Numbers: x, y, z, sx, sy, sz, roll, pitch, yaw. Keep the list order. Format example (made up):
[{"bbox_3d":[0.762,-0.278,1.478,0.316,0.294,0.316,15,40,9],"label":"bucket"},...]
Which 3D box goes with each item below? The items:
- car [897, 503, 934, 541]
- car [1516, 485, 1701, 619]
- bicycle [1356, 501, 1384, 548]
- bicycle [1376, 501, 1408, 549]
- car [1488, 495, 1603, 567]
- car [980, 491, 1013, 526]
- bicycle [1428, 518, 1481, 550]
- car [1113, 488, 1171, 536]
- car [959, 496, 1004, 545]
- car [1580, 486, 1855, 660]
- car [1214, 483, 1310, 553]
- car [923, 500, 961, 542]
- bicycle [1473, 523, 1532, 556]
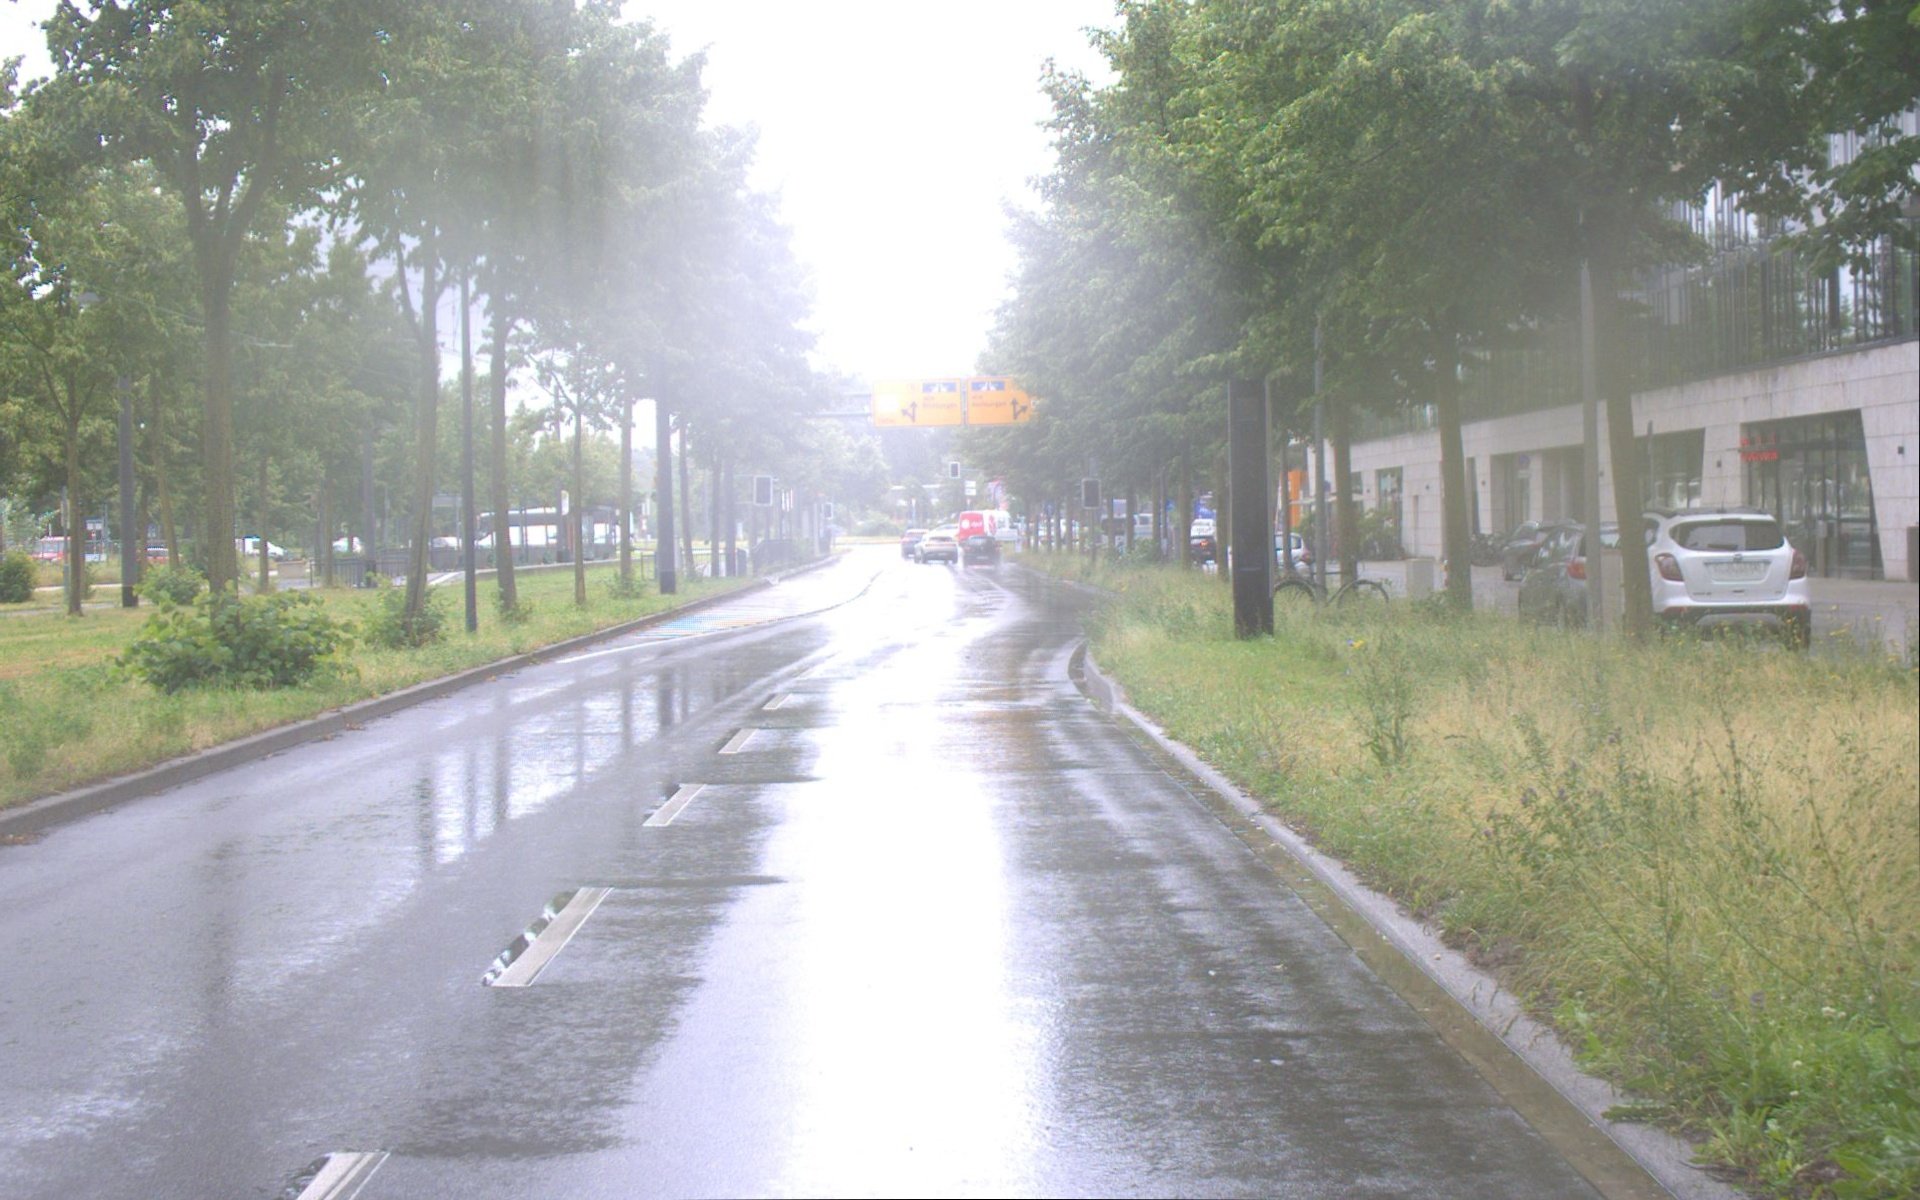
[{"bbox_3d":[-2.597,-4.568,200.799,1.993,2.006,4.001,-1,4,2],"label":"car"},{"bbox_3d":[8.161,-0.645,43.526,1.625,1.485,3.656,-1,4,0],"label":"car"},{"bbox_3d":[16.004,-2.969,134.398,0.644,1.716,3.121,-1,4,-1],"label":"bicycle"},{"bbox_3d":[16.802,-2.937,133.647,0.772,1.716,3.121,-1,4,-1],"label":"bicycle"},{"bbox_3d":[14.540,-1.751,85.671,1.994,1.496,5.034,-6,2,2],"label":"car"},{"bbox_3d":[2.293,-5.727,213.840,1.993,2.006,4.001,-1,4,1],"label":"car"},{"bbox_3d":[16.672,-2.229,115.917,1.694,1.025,0.423,-1,1,2],"label":"bicycle"},{"bbox_3d":[7.061,-3.403,133.486,1.906,1.785,4.688,-1,1,-1],"label":"car"},{"bbox_3d":[0.934,-3.524,151.762,1.940,2.006,4.001,-1,4,0],"label":"car"},{"bbox_3d":[8.414,-0.363,38.600,1.993,1.663,4.725,-1,4,0],"label":"car"},{"bbox_3d":[7.386,-2.044,84.512,1.881,1.500,4.725,-1,4,0],"label":"car"},{"bbox_3d":[-0.944,-4.131,179.725,1.888,2.006,4.001,-1,4,0],"label":"car"},{"bbox_3d":[17.233,-1.919,109.195,1.807,1.025,0.401,-1,1,2],"label":"bicycle"}]
